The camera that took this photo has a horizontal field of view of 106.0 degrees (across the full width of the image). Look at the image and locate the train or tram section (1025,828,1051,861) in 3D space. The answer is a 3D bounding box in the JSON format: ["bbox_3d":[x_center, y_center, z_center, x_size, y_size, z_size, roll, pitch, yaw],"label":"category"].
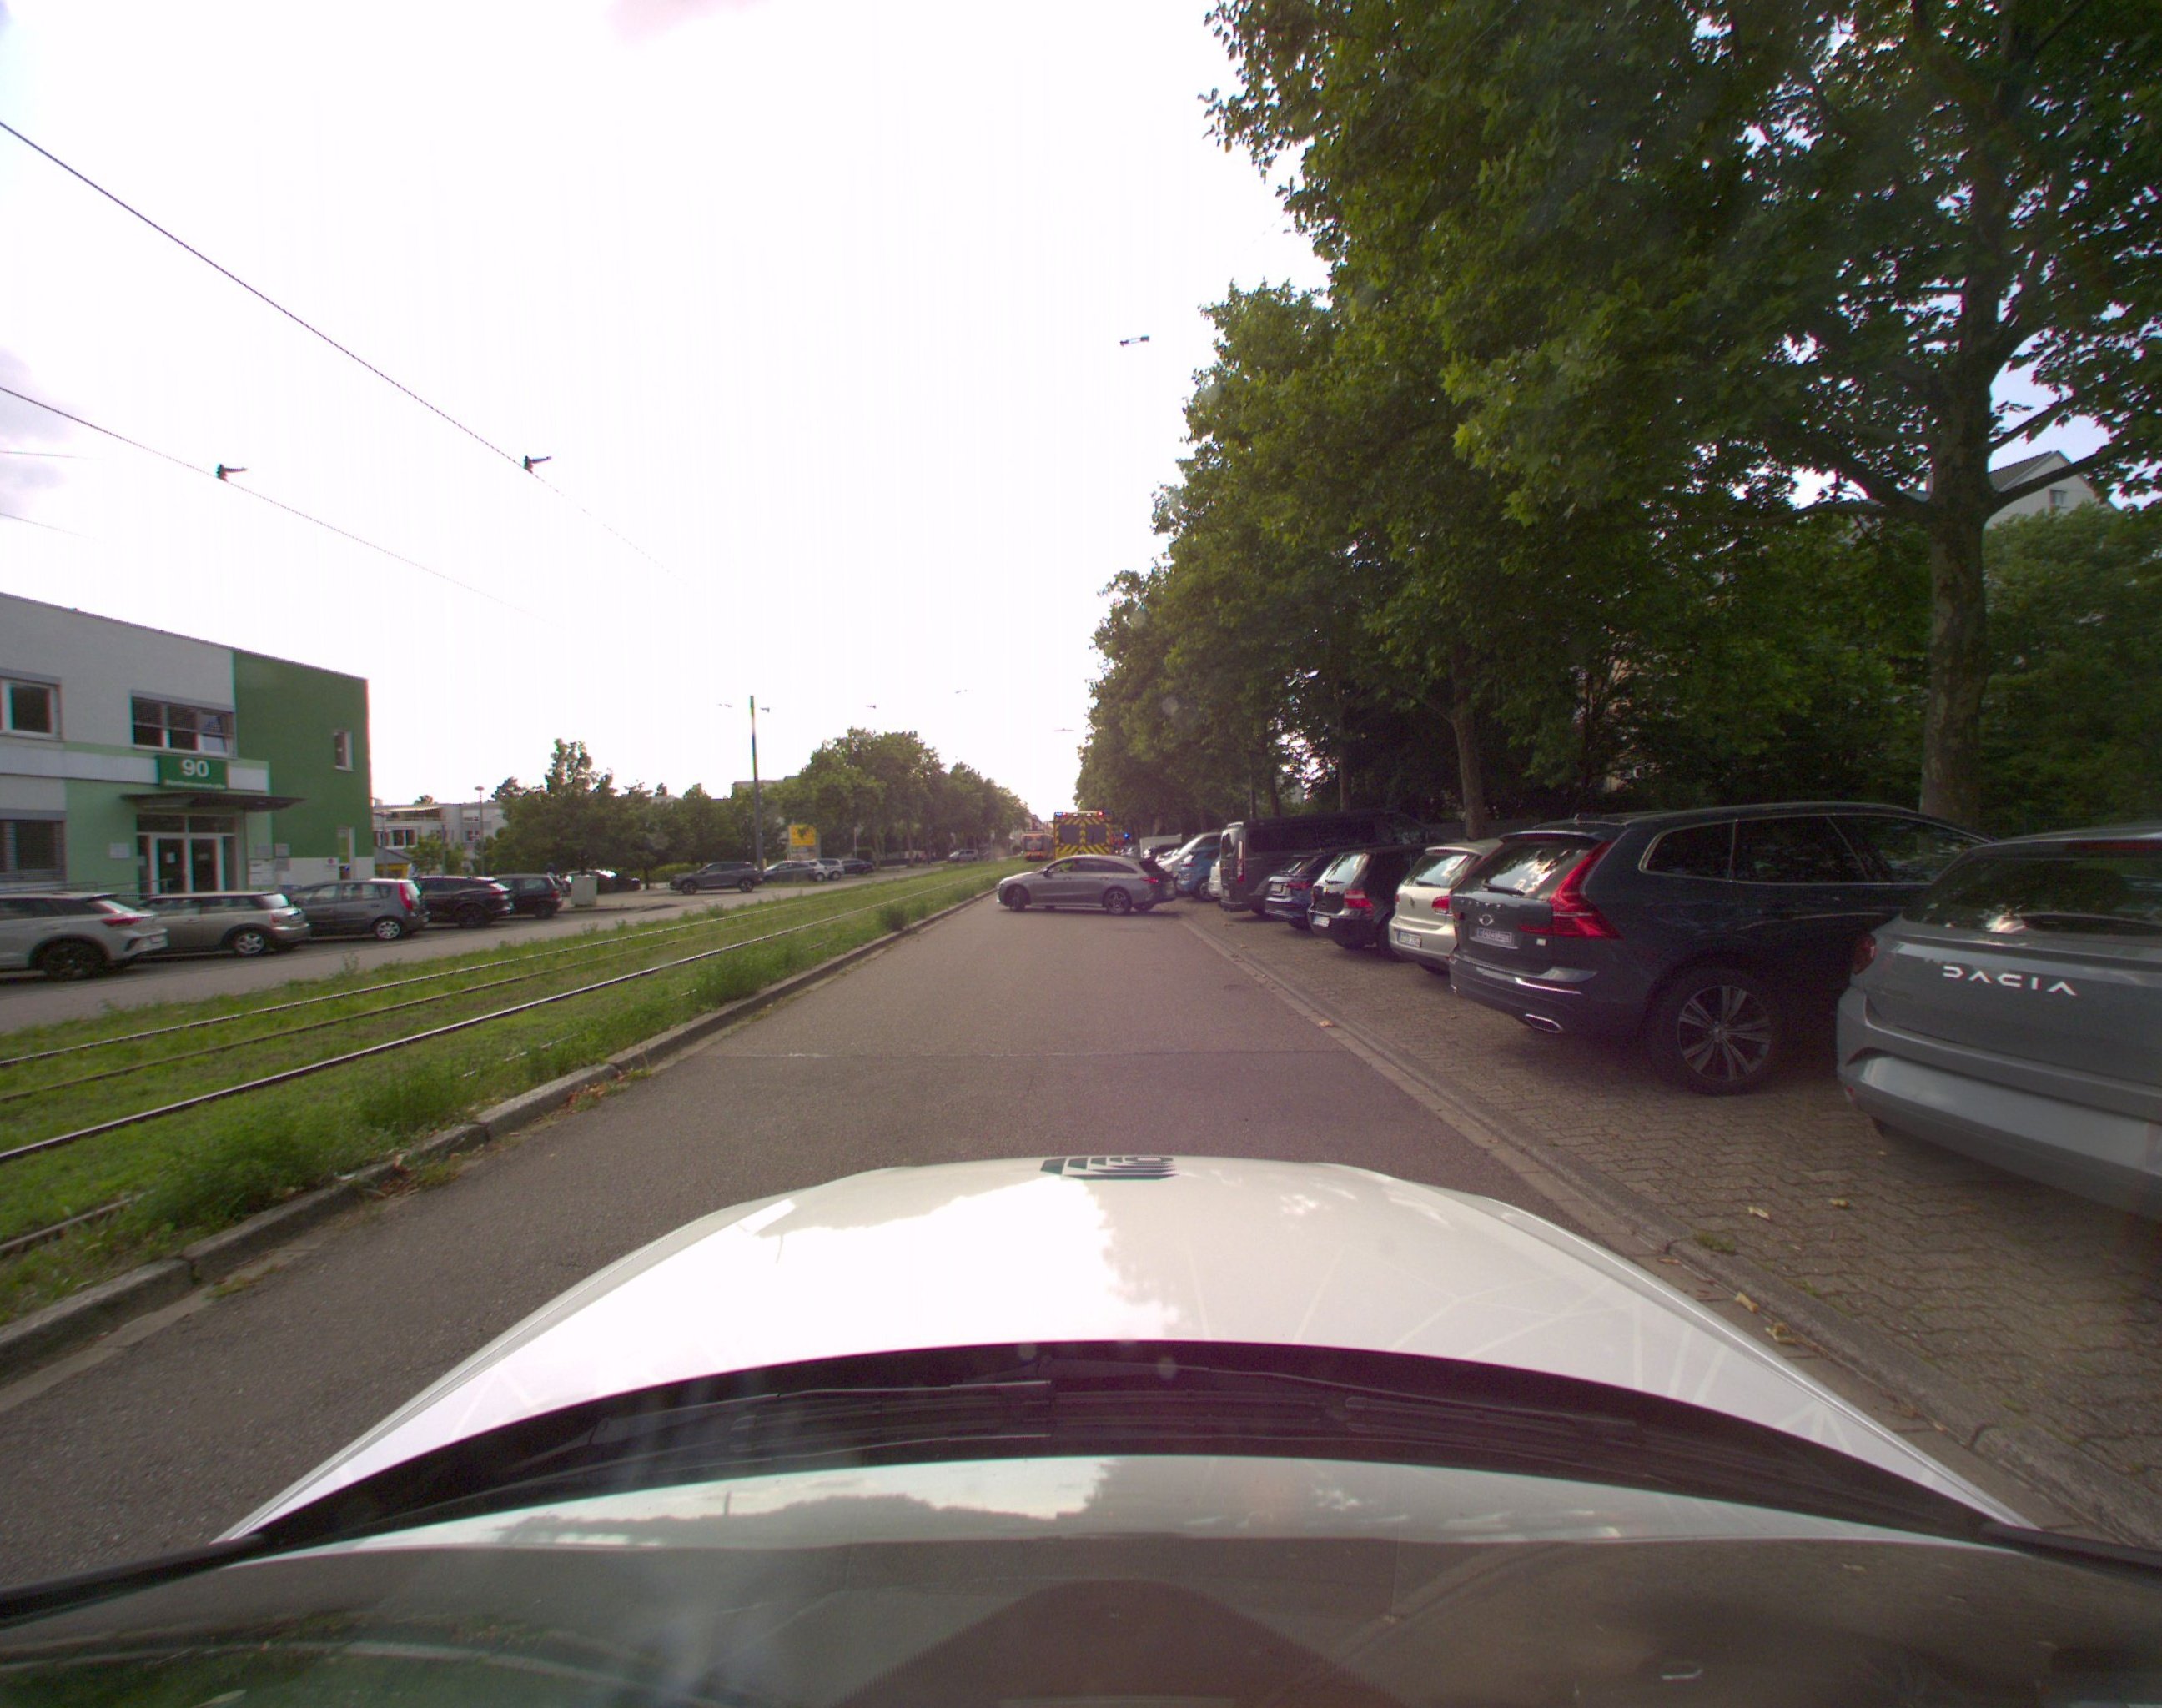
[{"bbox_3d":[-5.009,-1.076,96.494,2.504,3.584,7.443,-3,0,0],"label":"train or tram section"}]

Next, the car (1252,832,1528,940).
[{"bbox_3d":[5.083,0.506,13.785,3.953,1.494,1.755,-3,0,-1],"label":"car"}]

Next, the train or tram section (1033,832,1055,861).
[{"bbox_3d":[-4.967,-0.965,111.381,2.504,3.584,7.443,-3,0,0],"label":"train or tram section"}]

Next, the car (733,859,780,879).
[{"bbox_3d":[-29.637,1.342,74.414,3.949,1.750,2.013,0,0,31],"label":"car"}]

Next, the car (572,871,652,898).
[{"bbox_3d":[-29.408,1.895,51.107,3.970,1.565,1.779,0,-1,2],"label":"car"}]

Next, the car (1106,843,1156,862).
[{"bbox_3d":[4.843,-0.137,78.854,4.537,1.608,1.853,-3,0,-4],"label":"car"}]

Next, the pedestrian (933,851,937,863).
[{"bbox_3d":[-21.707,0.457,121.346,0.465,1.828,0.422,-2,0,-2],"label":"pedestrian"}]

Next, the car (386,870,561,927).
[{"bbox_3d":[-19.409,1.382,26.302,4.247,1.482,1.866,-3,1,-29],"label":"car"}]

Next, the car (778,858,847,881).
[{"bbox_3d":[-18.744,1.080,56.882,4.253,1.482,1.863,-1,0,-36],"label":"car"}]

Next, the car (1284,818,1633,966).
[{"bbox_3d":[5.012,0.440,11.037,3.967,1.605,1.750,-3,0,-11],"label":"car"}]

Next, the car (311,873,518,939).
[{"bbox_3d":[-18.866,1.416,23.335,4.247,1.482,1.866,-3,1,-29],"label":"car"}]

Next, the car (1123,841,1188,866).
[{"bbox_3d":[5.500,-0.015,60.771,4.537,1.608,1.853,-3,0,-4],"label":"car"}]

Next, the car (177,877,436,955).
[{"bbox_3d":[-18.960,1.455,20.243,4.247,1.482,1.866,-3,1,-29],"label":"car"}]

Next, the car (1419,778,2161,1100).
[{"bbox_3d":[4.836,0.458,5.463,4.364,1.639,1.757,-3,0,2],"label":"car"}]

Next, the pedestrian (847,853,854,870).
[{"bbox_3d":[-23.249,0.710,82.184,0.465,1.676,0.603,-2,0,-2],"label":"pedestrian"}]

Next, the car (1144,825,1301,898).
[{"bbox_3d":[4.443,0.211,25.985,4.537,2.000,1.853,-3,0,-4],"label":"car"}]

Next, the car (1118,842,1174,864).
[{"bbox_3d":[5.632,-0.071,70.622,4.537,1.608,1.853,-3,0,-4],"label":"car"}]

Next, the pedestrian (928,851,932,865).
[{"bbox_3d":[-18.411,0.490,99.192,0.420,1.730,0.467,-2,0,-5],"label":"pedestrian"}]

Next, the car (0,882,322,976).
[{"bbox_3d":[-19.213,1.489,17.197,4.247,1.482,1.866,-3,1,-29],"label":"car"}]

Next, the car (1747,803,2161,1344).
[{"bbox_3d":[5.225,0.515,2.796,4.364,1.501,1.757,-3,1,2],"label":"car"}]

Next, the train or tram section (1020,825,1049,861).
[{"bbox_3d":[-5.018,-1.131,89.063,2.504,3.584,7.443,-3,0,0],"label":"train or tram section"}]

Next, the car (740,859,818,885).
[{"bbox_3d":[-18.865,1.120,50.932,4.253,1.482,1.863,-1,0,-36],"label":"car"}]

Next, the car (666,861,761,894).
[{"bbox_3d":[-18.354,1.160,40.818,4.242,1.482,1.868,-1,0,-25],"label":"car"}]

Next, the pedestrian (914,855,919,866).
[{"bbox_3d":[-21.272,0.862,105.186,0.417,1.414,0.470,-2,0,25],"label":"pedestrian"}]

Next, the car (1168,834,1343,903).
[{"bbox_3d":[4.957,0.399,23.451,4.538,1.660,1.853,-3,0,-5],"label":"car"}]

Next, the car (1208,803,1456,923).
[{"bbox_3d":[5.102,0.178,16.978,4.532,2.123,1.855,-3,0,-1],"label":"car"}]

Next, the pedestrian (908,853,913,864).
[{"bbox_3d":[-23.740,0.646,113.360,0.631,1.551,0.621,-2,0,-3],"label":"pedestrian"}]

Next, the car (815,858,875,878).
[{"bbox_3d":[-18.845,1.074,65.086,4.256,1.482,1.861,-1,0,-40],"label":"car"}]

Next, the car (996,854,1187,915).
[{"bbox_3d":[0.251,0.703,20.354,4.413,1.385,1.777,0,0,25],"label":"car"}]

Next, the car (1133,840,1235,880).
[{"bbox_3d":[4.909,0.280,39.210,4.537,1.608,1.853,-3,0,-4],"label":"car"}]

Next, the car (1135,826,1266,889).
[{"bbox_3d":[4.426,0.123,30.580,4.537,2.043,1.853,-3,0,-4],"label":"car"}]

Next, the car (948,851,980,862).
[{"bbox_3d":[-18.567,0.361,129.620,4.651,1.633,1.861,-3,0,-39],"label":"car"}]

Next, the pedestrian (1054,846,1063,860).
[{"bbox_3d":[-2.332,-0.089,84.957,0.878,1.525,0.751,0,-1,-1],"label":"pedestrian"}]

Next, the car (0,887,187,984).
[{"bbox_3d":[-19.108,1.477,14.266,4.252,1.482,1.863,-3,1,-34],"label":"car"}]

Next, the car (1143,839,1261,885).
[{"bbox_3d":[5.021,0.330,34.053,4.537,1.608,1.853,-3,0,-4],"label":"car"}]

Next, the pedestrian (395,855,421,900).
[{"bbox_3d":[-27.991,0.971,33.874,0.544,1.828,0.508,-2,0,-2],"label":"pedestrian"}]

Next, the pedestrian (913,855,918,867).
[{"bbox_3d":[-21.022,0.871,103.357,0.420,1.473,0.467,-2,0,-5],"label":"pedestrian"}]

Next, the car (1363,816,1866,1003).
[{"bbox_3d":[5.181,0.497,8.310,3.953,1.494,1.756,-3,0,-1],"label":"car"}]

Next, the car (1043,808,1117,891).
[{"bbox_3d":[0.078,-0.163,32.592,2.631,2.966,6.302,1,0,2],"label":"car"}]

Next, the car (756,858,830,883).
[{"bbox_3d":[-19.015,1.080,53.856,4.253,1.482,1.863,-1,0,-36],"label":"car"}]

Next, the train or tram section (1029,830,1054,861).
[{"bbox_3d":[-4.991,-1.020,103.939,2.504,3.584,7.443,-3,0,0],"label":"train or tram section"}]

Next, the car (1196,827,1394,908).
[{"bbox_3d":[5.384,0.324,20.919,4.532,1.766,1.855,-3,0,-1],"label":"car"}]
